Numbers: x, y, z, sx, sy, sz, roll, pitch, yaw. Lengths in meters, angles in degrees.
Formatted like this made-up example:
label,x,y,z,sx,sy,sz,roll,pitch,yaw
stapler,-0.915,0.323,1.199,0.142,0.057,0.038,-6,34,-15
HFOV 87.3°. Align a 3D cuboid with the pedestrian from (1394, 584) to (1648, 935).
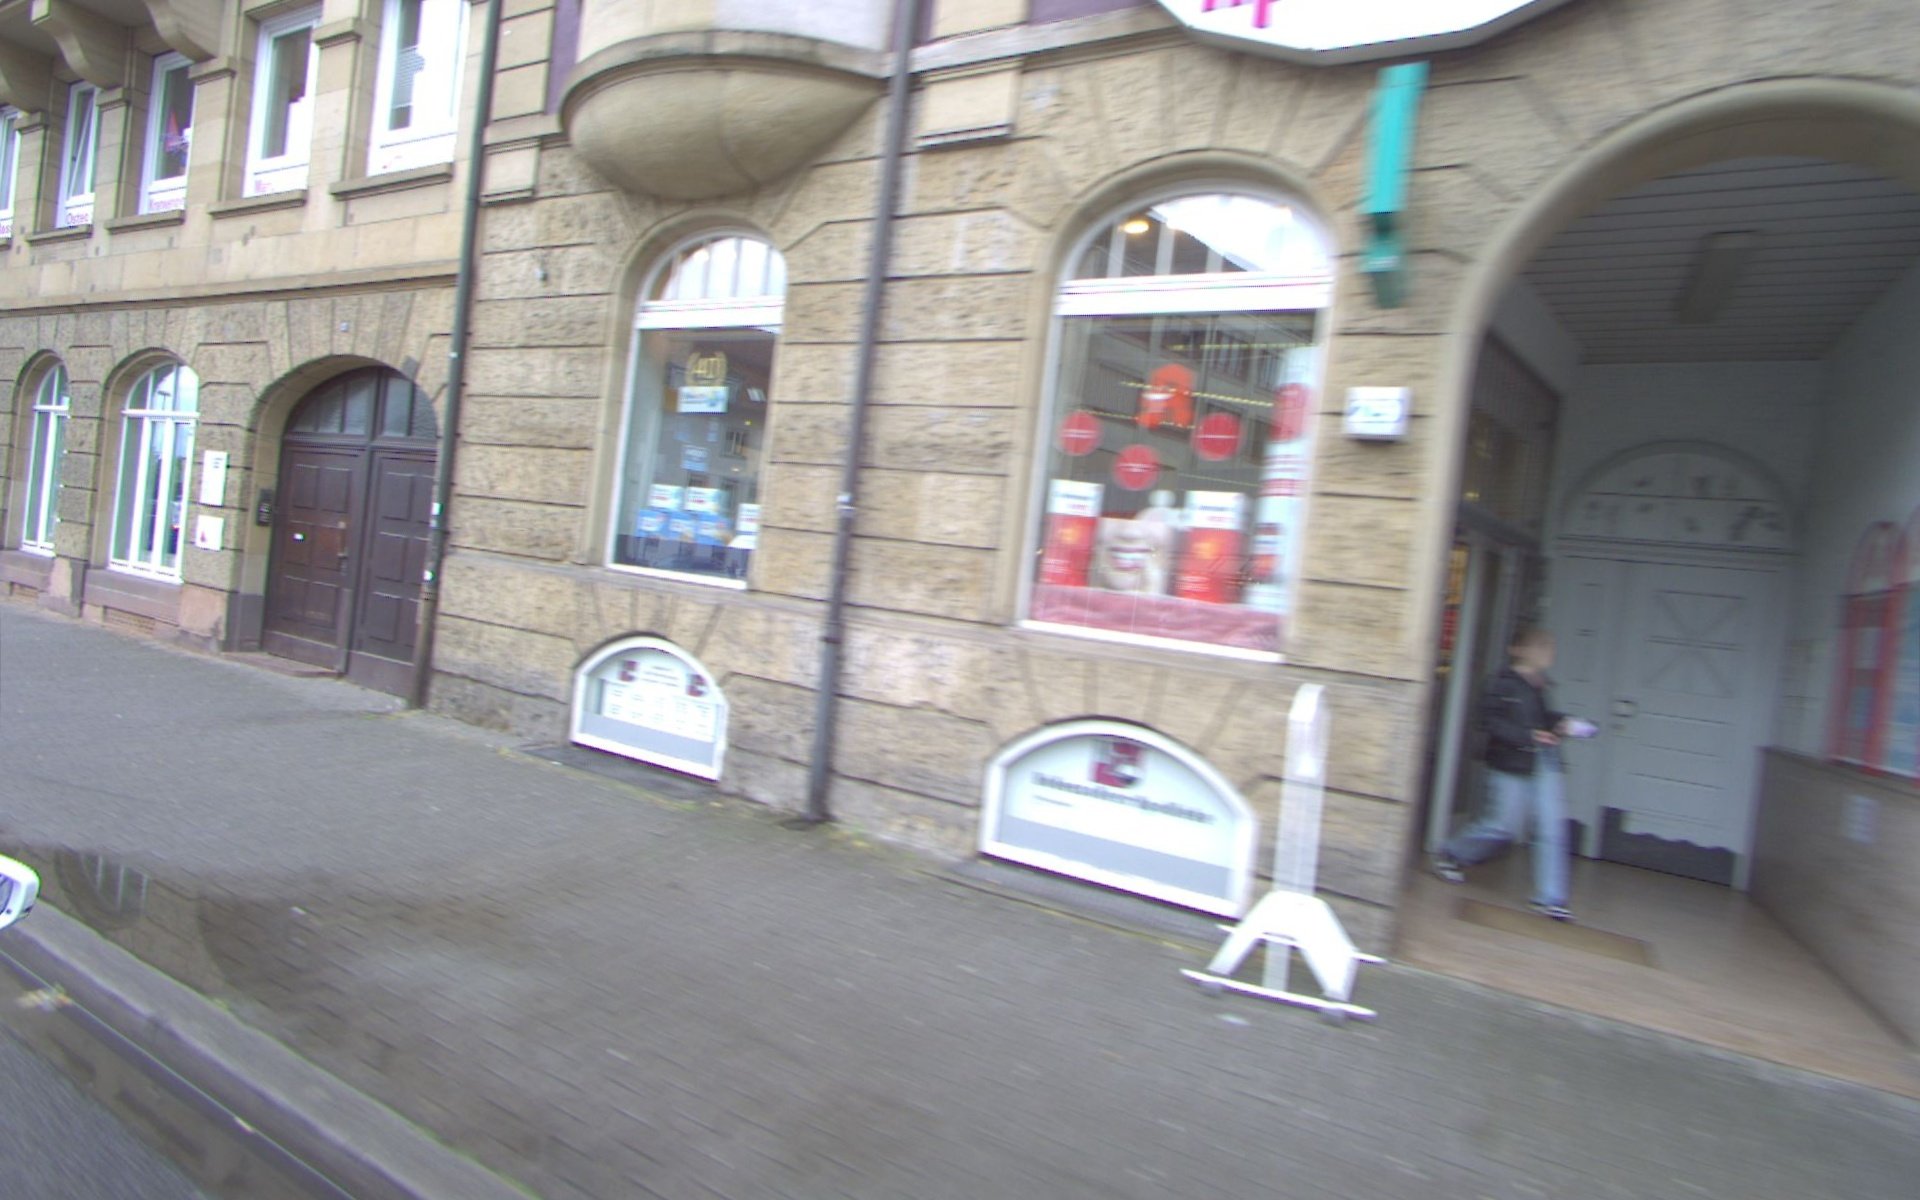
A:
label,x,y,z,sx,sy,sz,roll,pitch,yaw
pedestrian,3.154,0.845,5.685,0.669,1.742,0.891,6,1,-41
